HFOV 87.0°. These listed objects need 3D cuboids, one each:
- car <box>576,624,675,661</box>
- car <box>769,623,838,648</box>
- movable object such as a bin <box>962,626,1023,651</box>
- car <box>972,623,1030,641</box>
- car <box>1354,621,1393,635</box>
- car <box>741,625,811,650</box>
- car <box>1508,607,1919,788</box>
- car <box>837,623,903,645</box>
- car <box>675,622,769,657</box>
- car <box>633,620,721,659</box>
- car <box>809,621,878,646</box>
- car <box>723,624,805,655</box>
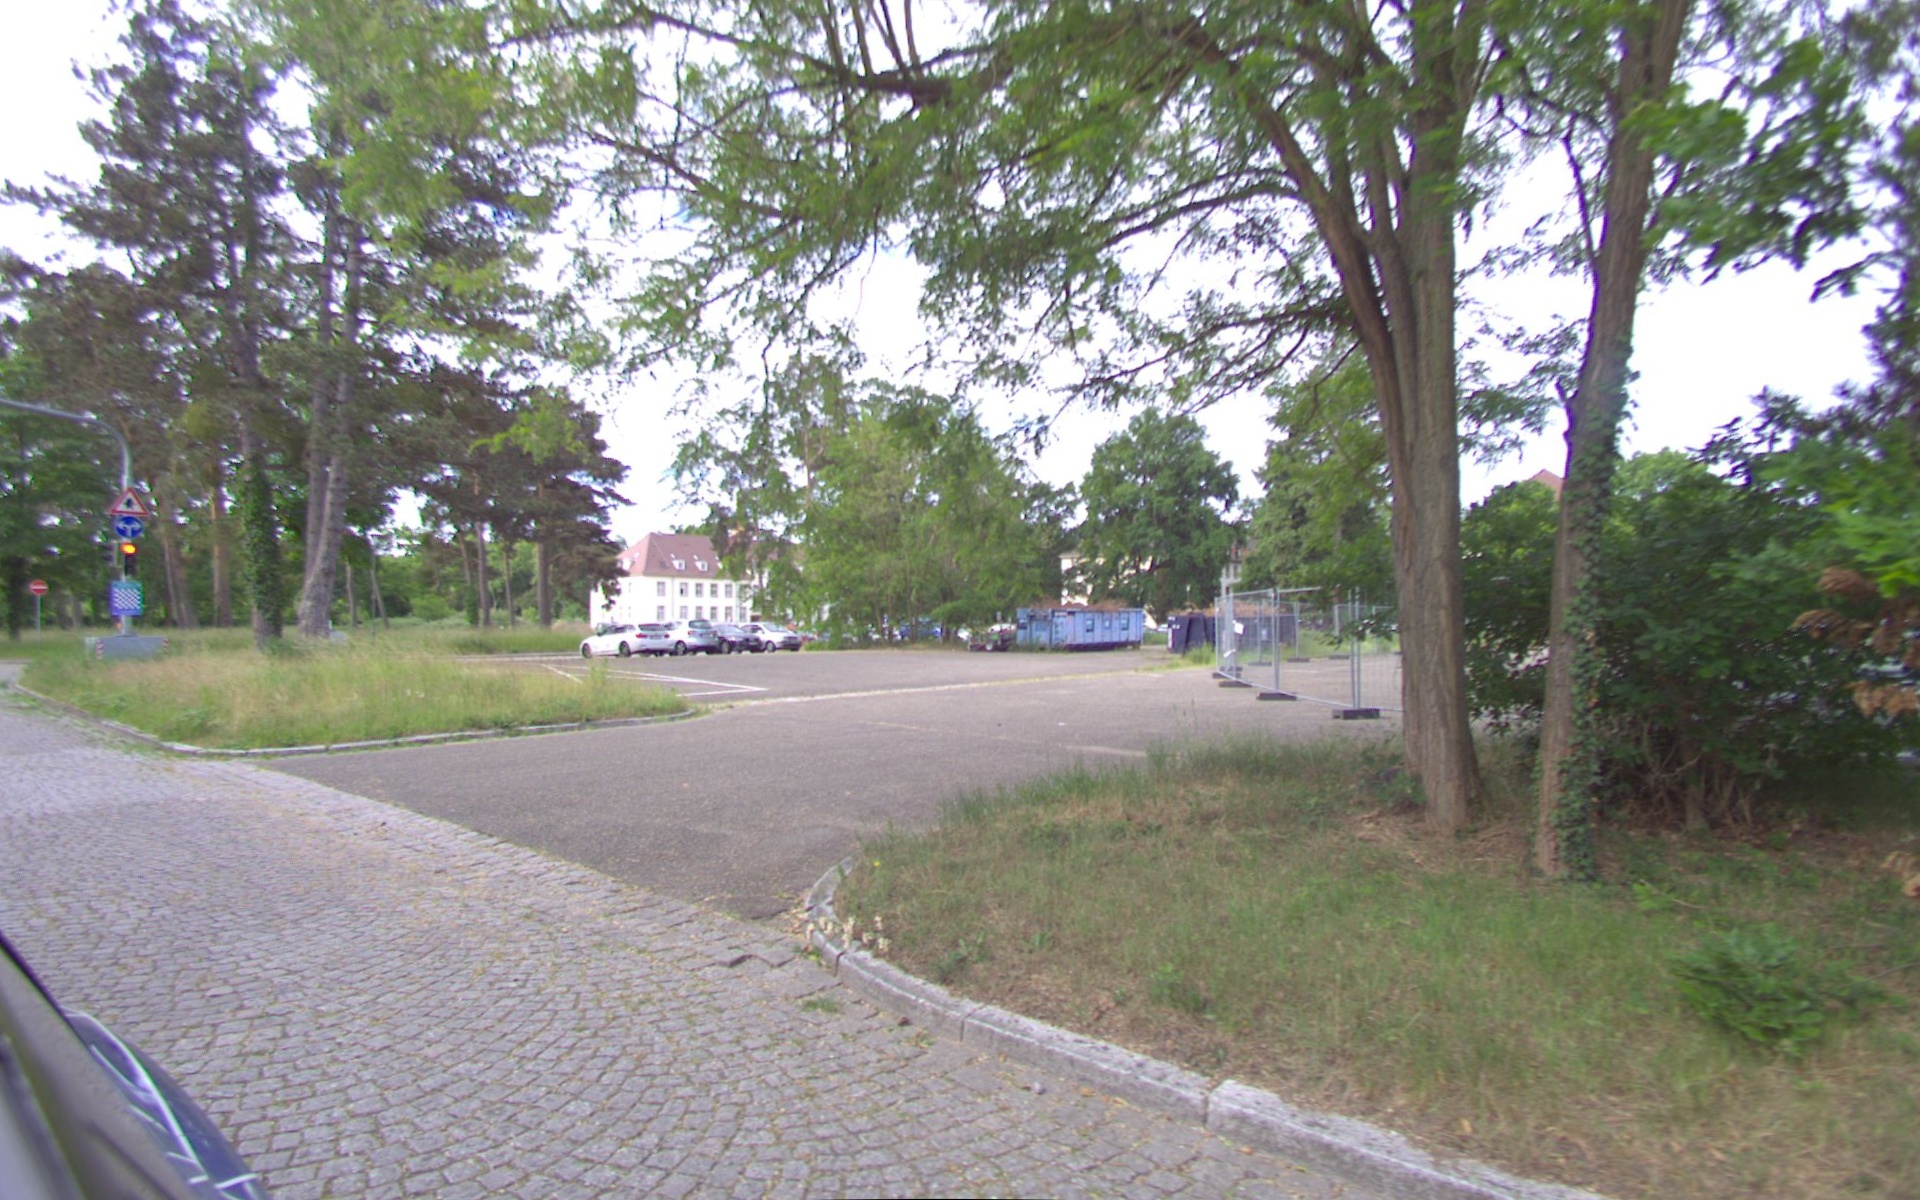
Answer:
[{"bbox_3d":[-13.733,1.711,41.441,4.315,1.436,1.807,-1,-2,38],"label":"car"},{"bbox_3d":[-9.881,2.236,63.876,4.397,1.486,1.807,-1,-2,38],"label":"car"},{"bbox_3d":[1.296,1.526,40.320,1.953,0.976,1.431,-1,-2,34],"label":"movable object such as a bin"},{"bbox_3d":[3.175,2.513,78.689,4.400,1.361,1.689,-2,-2,41],"label":"car"},{"bbox_3d":[53.710,3.688,131.572,4.289,1.735,1.805,-2,0,42],"label":"car"},{"bbox_3d":[-11.261,2.282,61.733,4.397,1.486,1.807,-1,-2,38],"label":"car"},{"bbox_3d":[7.614,0.798,9.161,4.416,1.427,1.806,-1,-2,39],"label":"car"},{"bbox_3d":[-6.067,2.286,68.191,4.394,1.486,1.808,-1,-2,37],"label":"car"},{"bbox_3d":[-10.774,1.771,45.616,4.397,1.486,1.807,-1,-2,38],"label":"car"},{"bbox_3d":[-12.163,1.688,43.357,3.894,1.532,1.653,-4,-3,38],"label":"car"},{"bbox_3d":[-7.553,2.173,65.651,4.394,1.486,1.808,-1,0,37],"label":"car"},{"bbox_3d":[-9.346,1.847,48.031,4.032,1.410,1.617,-1,-2,39],"label":"car"}]
